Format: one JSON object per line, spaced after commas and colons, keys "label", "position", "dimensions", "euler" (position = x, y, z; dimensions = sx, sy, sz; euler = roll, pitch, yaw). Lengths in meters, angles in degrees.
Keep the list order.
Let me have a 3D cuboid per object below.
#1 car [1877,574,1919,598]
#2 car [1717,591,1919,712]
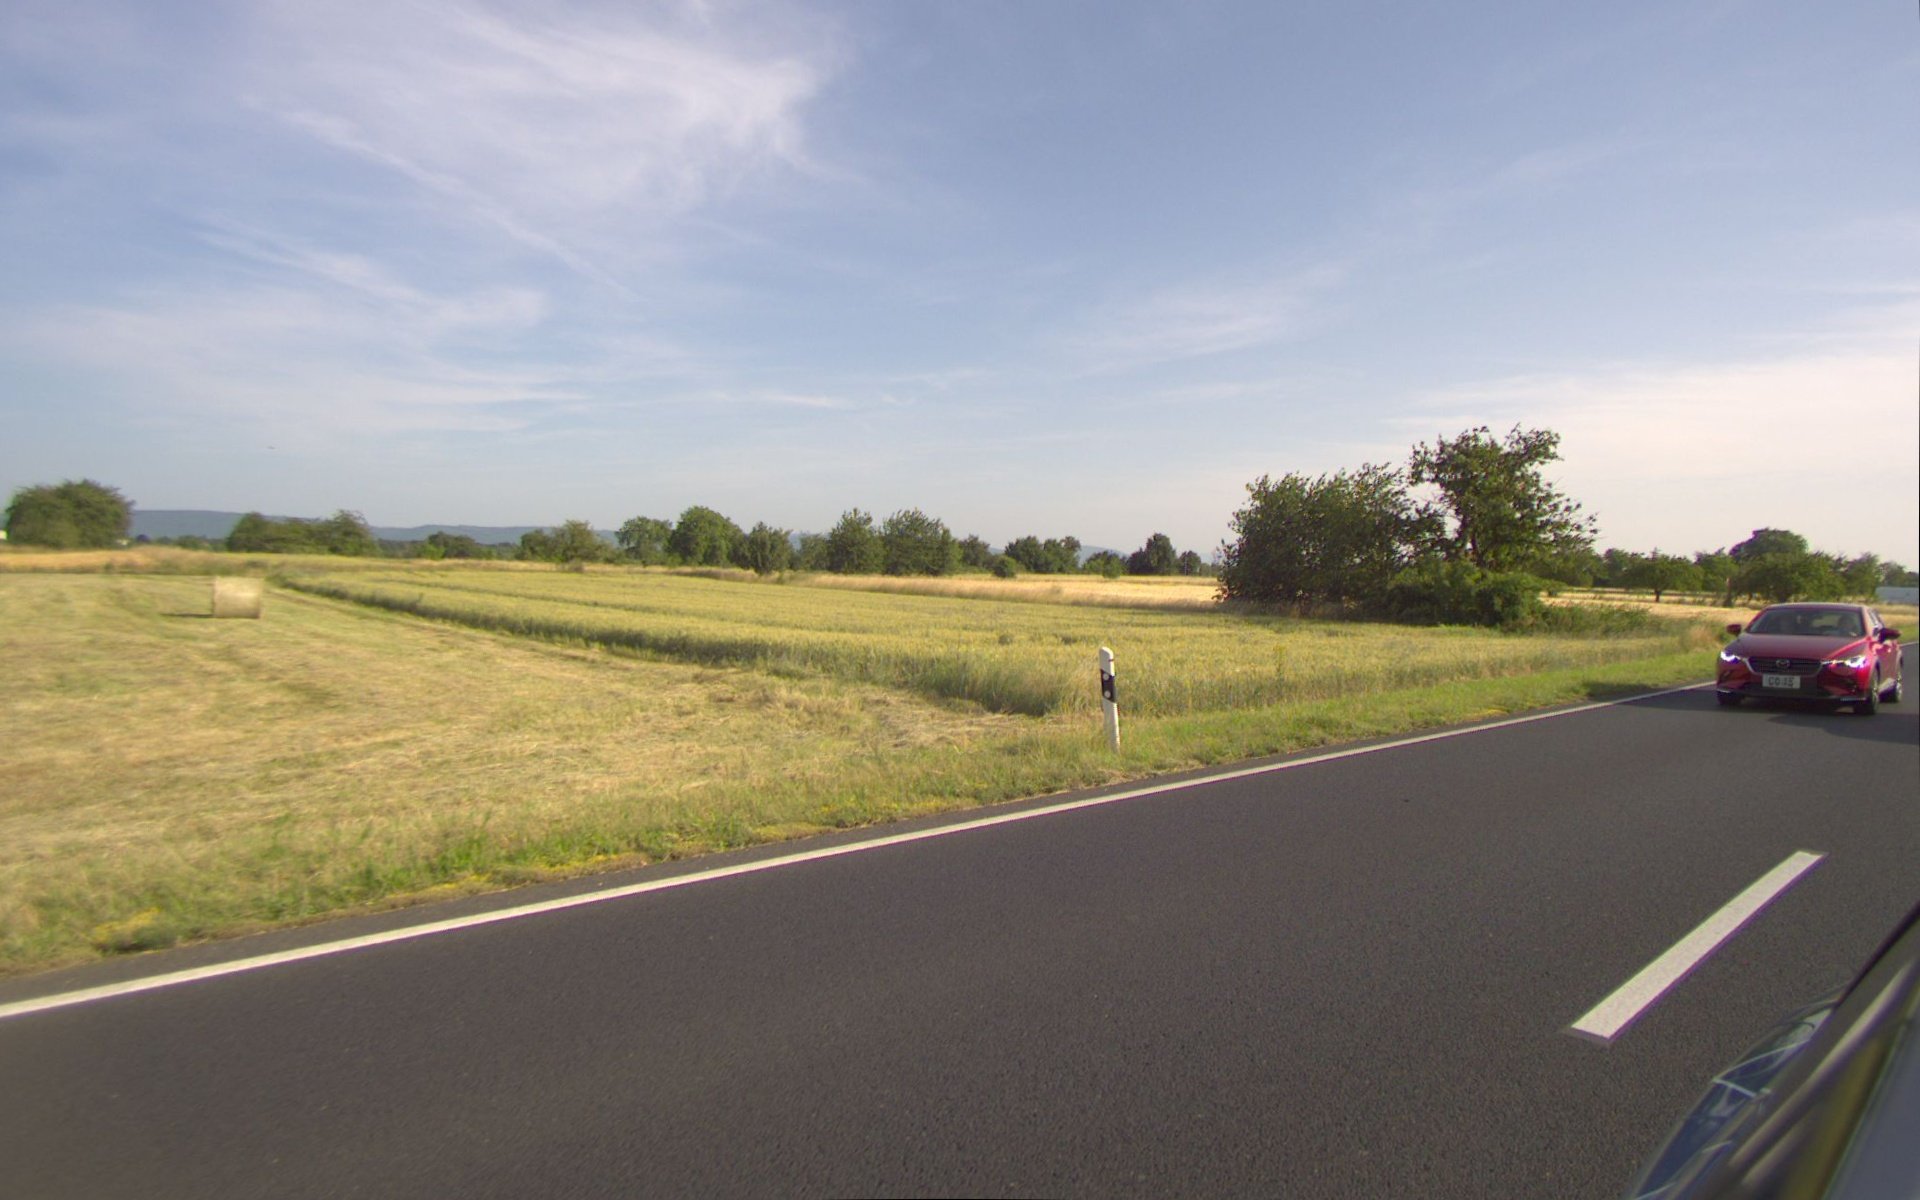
{"label": "car", "position": [112.436, -1.613, 118.548], "dimensions": [2.049, 2.701, 7.230], "euler": [-1, 2, -25]}
{"label": "car", "position": [12.944, 0.644, 15.116], "dimensions": [4.422, 1.524, 1.707], "euler": [-1, 1, -40]}
